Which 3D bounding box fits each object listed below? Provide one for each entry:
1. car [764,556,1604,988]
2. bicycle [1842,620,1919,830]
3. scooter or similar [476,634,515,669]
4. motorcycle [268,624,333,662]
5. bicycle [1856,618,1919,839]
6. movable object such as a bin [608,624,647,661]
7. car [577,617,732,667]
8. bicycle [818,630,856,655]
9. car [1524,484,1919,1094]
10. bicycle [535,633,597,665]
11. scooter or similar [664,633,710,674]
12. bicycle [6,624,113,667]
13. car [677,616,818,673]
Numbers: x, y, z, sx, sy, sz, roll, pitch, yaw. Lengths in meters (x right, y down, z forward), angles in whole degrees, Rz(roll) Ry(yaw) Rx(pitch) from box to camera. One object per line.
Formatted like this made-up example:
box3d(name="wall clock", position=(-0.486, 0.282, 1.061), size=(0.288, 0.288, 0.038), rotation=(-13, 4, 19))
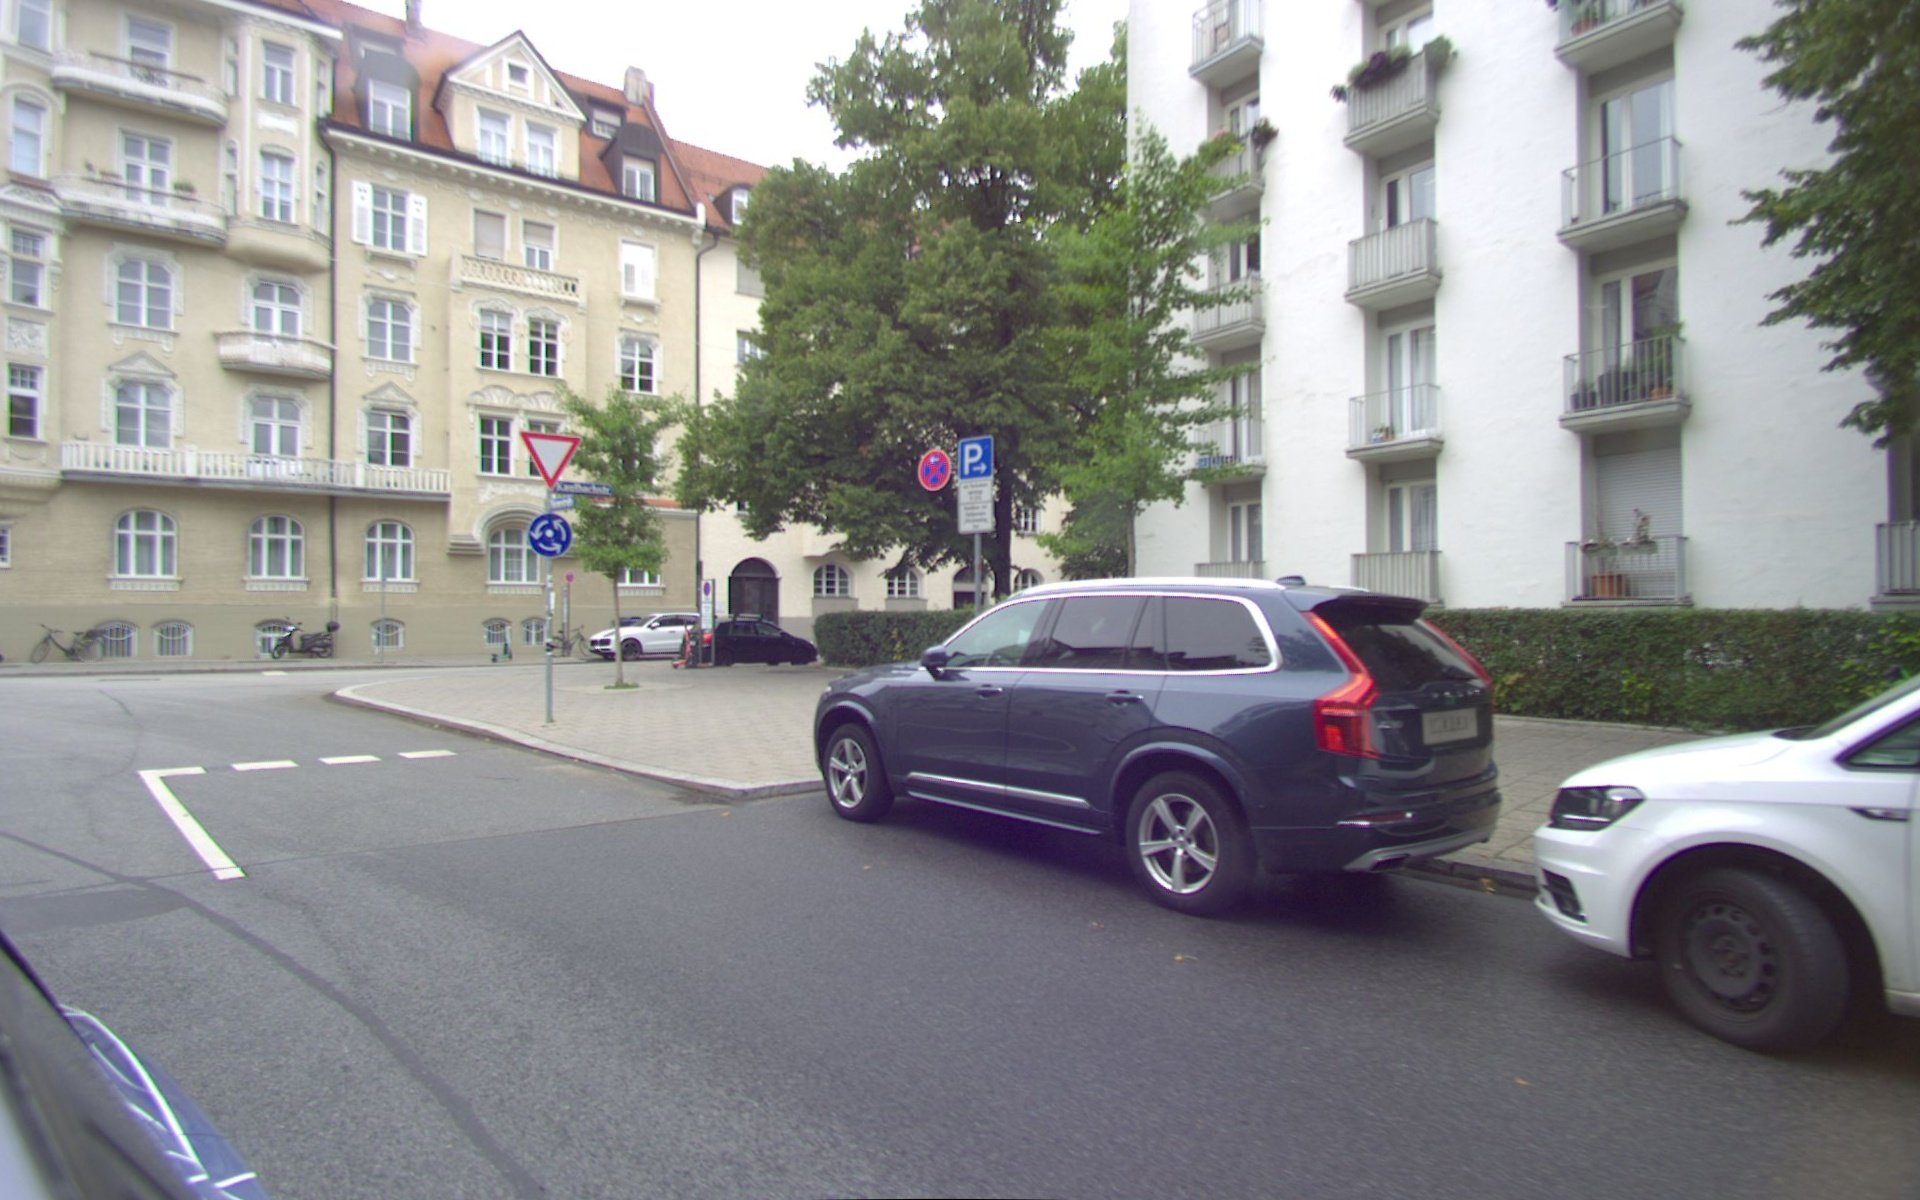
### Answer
box3d(name="car", position=(0.941, 0.746, 6.765), size=(2.058, 1.732, 5.312), rotation=(1, -2, -41))
box3d(name="bicycle", position=(5.398, 0.610, 4.724), size=(0.610, 1.033, 1.855), rotation=(1, -2, -42))
box3d(name="scooter or similar", position=(-15.322, 1.689, 33.400), size=(0.536, 1.117, 1.343), rotation=(0, -2, 8))
box3d(name="motorcycle", position=(-21.605, 1.401, 33.163), size=(1.718, 1.195, 0.743), rotation=(1, -2, -41))
box3d(name="bicycle", position=(5.861, 0.686, 5.167), size=(0.610, 1.188, 1.855), rotation=(1, -2, -42))
box3d(name="movable object such as a bin", position=(-12.974, 1.647, 39.534), size=(1.161, 1.381, 1.150), rotation=(1, -2, -35))
box3d(name="car", position=(-10.878, 1.451, 36.192), size=(4.910, 1.688, 2.004), rotation=(1, -2, -38))
box3d(name="bicycle", position=(-5.549, 1.913, 45.722), size=(0.551, 1.077, 1.788), rotation=(-2, -2, 44))
box3d(name="car", position=(4.646, 0.585, 2.925), size=(2.058, 1.918, 4.864), rotation=(1, -2, -42))
box3d(name="bicycle", position=(-14.092, 1.743, 36.231), size=(0.654, 1.077, 1.947), rotation=(-2, -2, 44))
box3d(name="scooter or similar", position=(-7.033, 1.361, 26.067), size=(1.311, 1.032, 0.521), rotation=(-2, -2, 41))
box3d(name="bicycle", position=(-26.389, 1.307, 29.710), size=(2.304, 1.212, 0.700), rotation=(1, -2, -42))
box3d(name="car", position=(-6.133, 1.285, 29.342), size=(3.617, 1.540, 1.678), rotation=(1, -4, -38))
